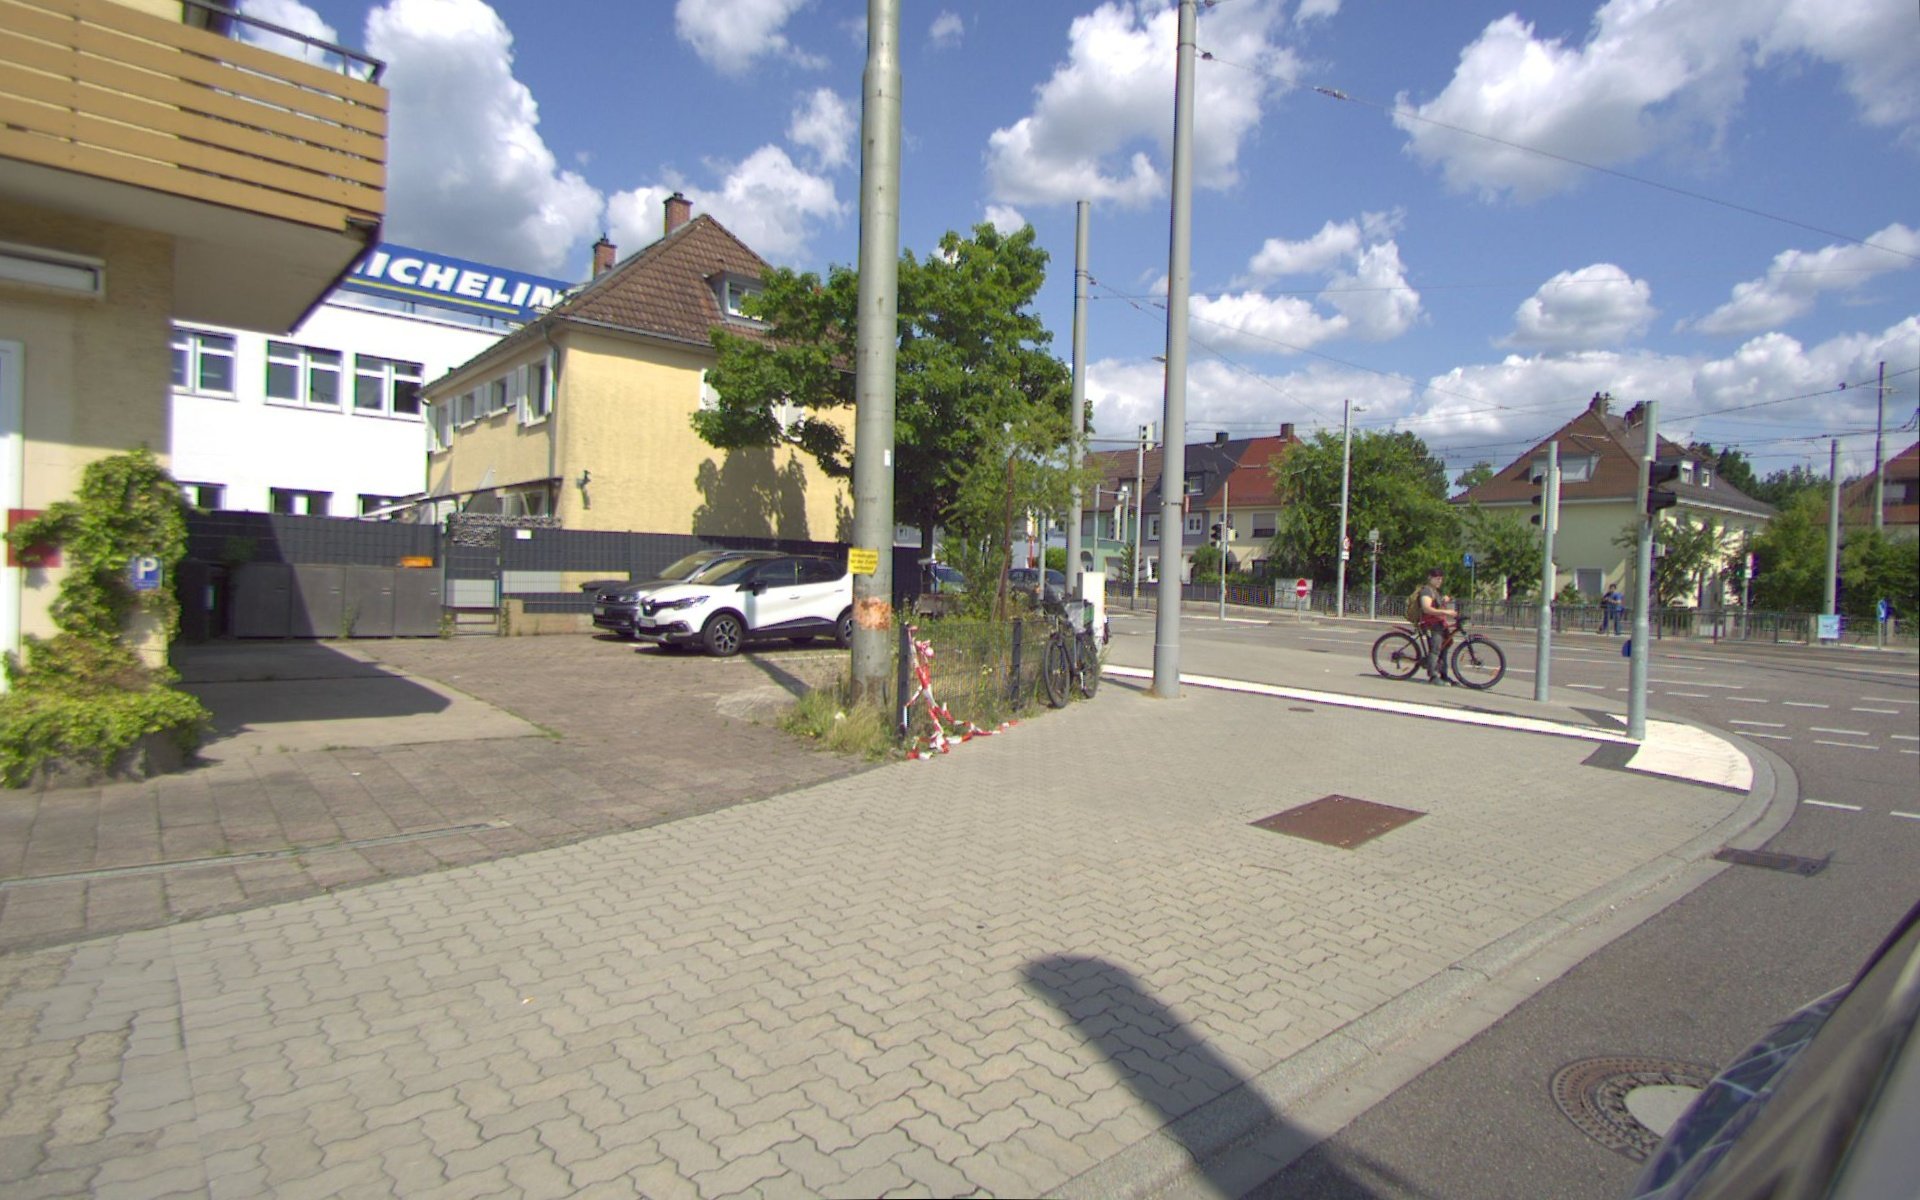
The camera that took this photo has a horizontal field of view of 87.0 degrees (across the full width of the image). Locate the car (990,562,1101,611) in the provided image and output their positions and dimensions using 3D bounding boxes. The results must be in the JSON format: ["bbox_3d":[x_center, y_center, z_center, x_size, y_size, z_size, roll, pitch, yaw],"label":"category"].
[{"bbox_3d":[3.055,-0.519,36.717,1.807,1.588,4.001,1,2,-36],"label":"car"}]

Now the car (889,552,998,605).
[{"bbox_3d":[-0.661,-0.786,36.235,1.903,1.713,4.001,1,2,-36],"label":"car"}]

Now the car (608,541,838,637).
[{"bbox_3d":[-4.477,-0.252,19.455,3.935,1.640,1.824,-1,3,-44],"label":"car"}]

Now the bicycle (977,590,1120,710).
[{"bbox_3d":[0.997,0.461,10.740,0.590,1.110,2.253,3,2,30],"label":"bicycle"}]

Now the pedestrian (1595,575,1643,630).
[{"bbox_3d":[22.109,0.076,33.950,1.022,1.756,1.032,2,1,-38],"label":"pedestrian"}]

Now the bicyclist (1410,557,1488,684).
[{"bbox_3d":[7.281,0.280,15.064,0.952,1.797,0.712,3,1,30],"label":"bicyclist"}]

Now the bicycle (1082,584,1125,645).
[{"bbox_3d":[2.818,0.257,20.017,0.690,1.118,1.806,2,1,4],"label":"bicycle"}]

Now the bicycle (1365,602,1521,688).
[{"bbox_3d":[7.191,0.634,15.104,2.016,1.115,0.708,3,2,29],"label":"bicycle"}]

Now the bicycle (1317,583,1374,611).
[{"bbox_3d":[20.194,-0.180,53.082,0.612,1.351,2.798,2,2,-42],"label":"bicycle"}]

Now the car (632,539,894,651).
[{"bbox_3d":[-3.201,-0.138,16.904,3.935,1.640,1.824,-1,3,-44],"label":"car"}]
